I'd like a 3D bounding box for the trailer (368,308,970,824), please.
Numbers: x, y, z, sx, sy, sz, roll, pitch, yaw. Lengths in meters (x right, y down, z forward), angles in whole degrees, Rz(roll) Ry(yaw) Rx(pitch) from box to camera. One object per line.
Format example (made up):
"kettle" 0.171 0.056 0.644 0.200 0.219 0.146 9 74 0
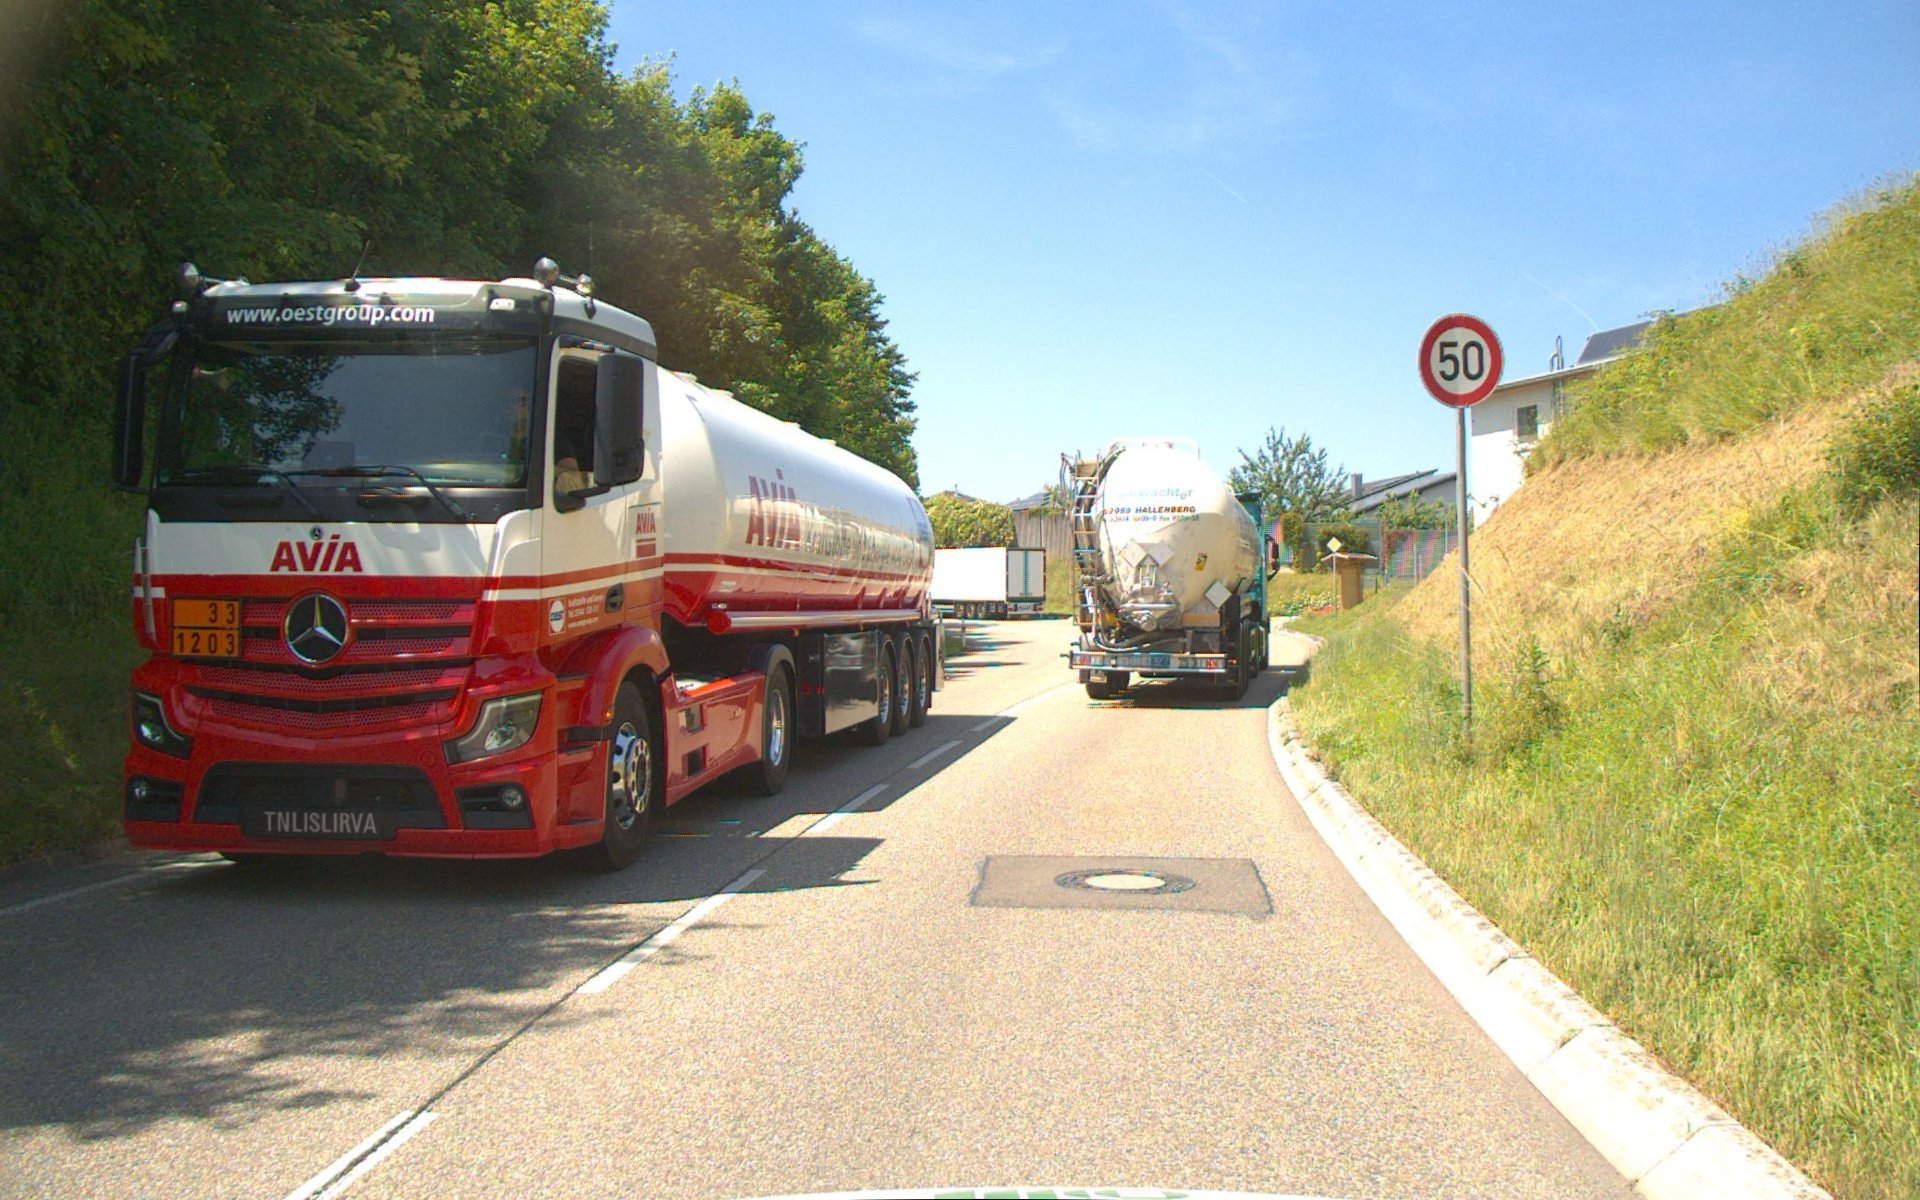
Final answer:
"trailer" -1.970 -0.182 16.687 2.577 3.432 11.151 -1 0 8

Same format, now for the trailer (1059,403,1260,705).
"trailer" 3.889 -0.632 29.406 2.604 4.262 11.914 0 0 11

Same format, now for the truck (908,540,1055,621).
"truck" 1.086 -1.185 96.940 3.155 4.385 11.686 2 0 -29

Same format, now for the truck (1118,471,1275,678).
"truck" 5.275 -0.468 35.778 2.669 3.998 7.269 -1 0 13

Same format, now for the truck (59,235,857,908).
"truck" -2.722 -0.112 11.606 2.570 3.226 7.073 0 0 8

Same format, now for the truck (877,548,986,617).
"truck" -1.846 -1.091 102.130 3.155 4.002 8.172 2 0 -29
